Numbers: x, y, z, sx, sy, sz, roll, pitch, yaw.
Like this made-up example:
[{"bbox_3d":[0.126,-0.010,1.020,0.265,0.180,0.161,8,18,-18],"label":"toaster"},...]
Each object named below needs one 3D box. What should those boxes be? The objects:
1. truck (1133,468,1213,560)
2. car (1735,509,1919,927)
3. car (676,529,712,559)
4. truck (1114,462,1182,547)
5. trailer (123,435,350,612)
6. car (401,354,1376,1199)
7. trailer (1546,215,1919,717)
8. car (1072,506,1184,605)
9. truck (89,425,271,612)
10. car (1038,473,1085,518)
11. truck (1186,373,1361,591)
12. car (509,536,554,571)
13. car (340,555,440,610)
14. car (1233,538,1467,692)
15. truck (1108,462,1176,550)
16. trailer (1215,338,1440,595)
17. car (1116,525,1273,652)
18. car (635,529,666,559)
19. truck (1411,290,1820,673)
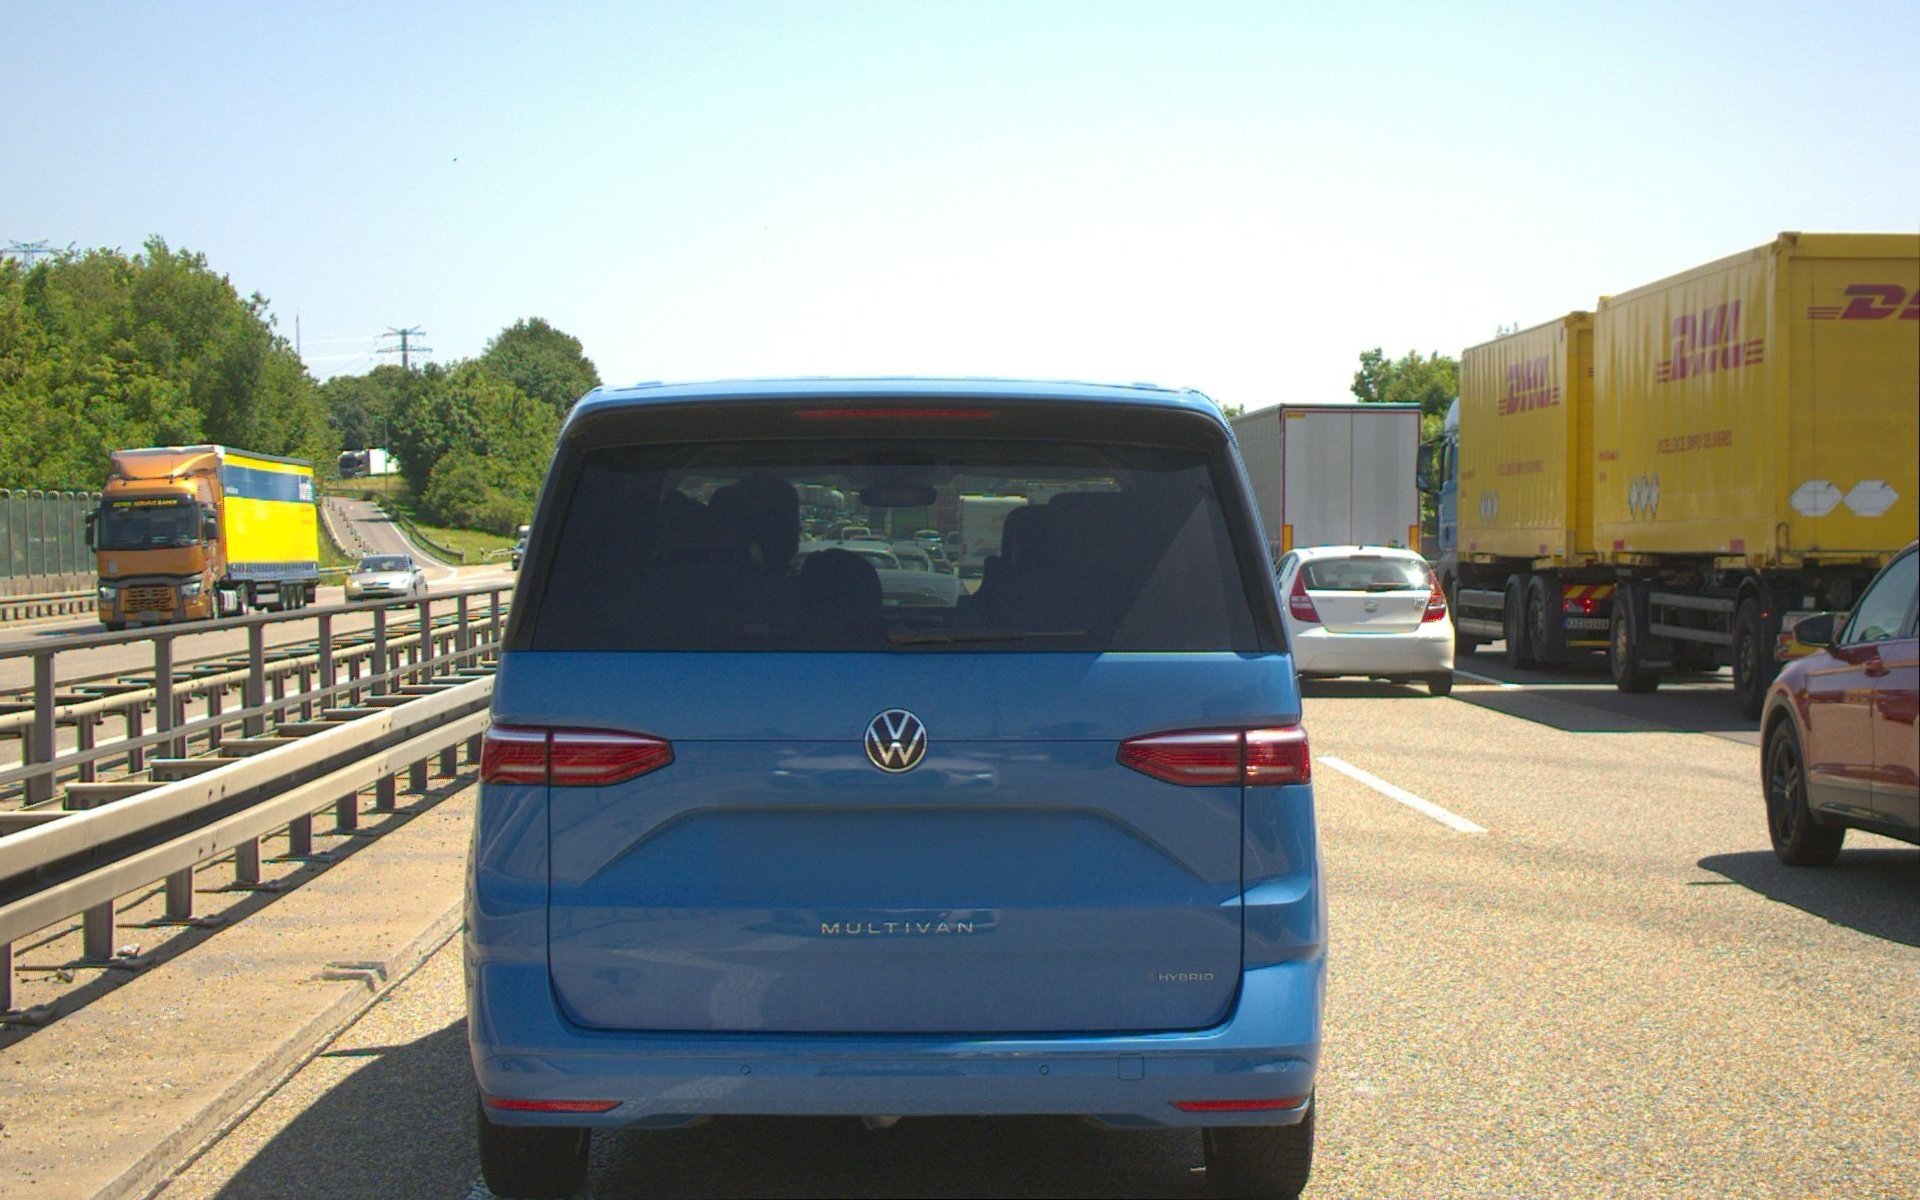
[{"bbox_3d":[5.801,-2.318,93.951,1.798,2.441,4.504,1,1,-1],"label":"truck"},{"bbox_3d":[4.688,0.458,14.733,1.708,1.673,4.285,0,1,-1],"label":"car"},{"bbox_3d":[-15.579,-3.269,201.213,1.842,1.745,3.943,1,1,-1],"label":"car"},{"bbox_3d":[5.909,-2.995,108.408,1.797,2.587,4.306,1,1,-1],"label":"truck"},{"bbox_3d":[-18.129,-1.848,87.231,2.628,4.100,14.016,0,1,1],"label":"trailer"},{"bbox_3d":[-0.184,0.435,8.884,1.930,1.867,4.000,1,1,-1],"label":"car"},{"bbox_3d":[7.860,-1.131,32.535,2.682,4.074,8.982,1,1,-2],"label":"trailer"},{"bbox_3d":[3.357,-0.890,69.262,1.962,1.929,3.932,1,1,-1],"label":"car"},{"bbox_3d":[-18.177,-1.865,80.467,2.672,4.170,6.287,-1,0,1],"label":"truck"},{"bbox_3d":[4.692,-4.823,159.329,1.993,2.007,4.000,1,1,-1],"label":"car"},{"bbox_3d":[6.900,-2.537,76.750,3.026,4.595,7.921,1,1,-1],"label":"truck"},{"bbox_3d":[-21.806,-2.340,175.004,1.842,1.745,3.943,1,1,-1],"label":"car"},{"bbox_3d":[-14.592,-0.454,88.211,1.689,1.299,4.012,-3,0,2],"label":"car"},{"bbox_3d":[3.943,0.126,35.358,1.815,1.465,3.932,1,1,-2],"label":"car"},{"bbox_3d":[5.441,-2.785,103.083,1.742,2.540,4.210,1,1,-1],"label":"truck"},{"bbox_3d":[7.017,-2.456,67.348,3.026,4.595,10.925,1,1,-1],"label":"trailer"},{"bbox_3d":[3.223,-0.170,47.944,1.815,1.673,3.932,1,1,-1],"label":"car"},{"bbox_3d":[-21.604,-3.921,239.968,1.842,2.035,3.943,1,1,-1],"label":"car"},{"bbox_3d":[7.703,-1.323,41.946,2.699,4.074,9.941,1,1,-2],"label":"truck"}]
